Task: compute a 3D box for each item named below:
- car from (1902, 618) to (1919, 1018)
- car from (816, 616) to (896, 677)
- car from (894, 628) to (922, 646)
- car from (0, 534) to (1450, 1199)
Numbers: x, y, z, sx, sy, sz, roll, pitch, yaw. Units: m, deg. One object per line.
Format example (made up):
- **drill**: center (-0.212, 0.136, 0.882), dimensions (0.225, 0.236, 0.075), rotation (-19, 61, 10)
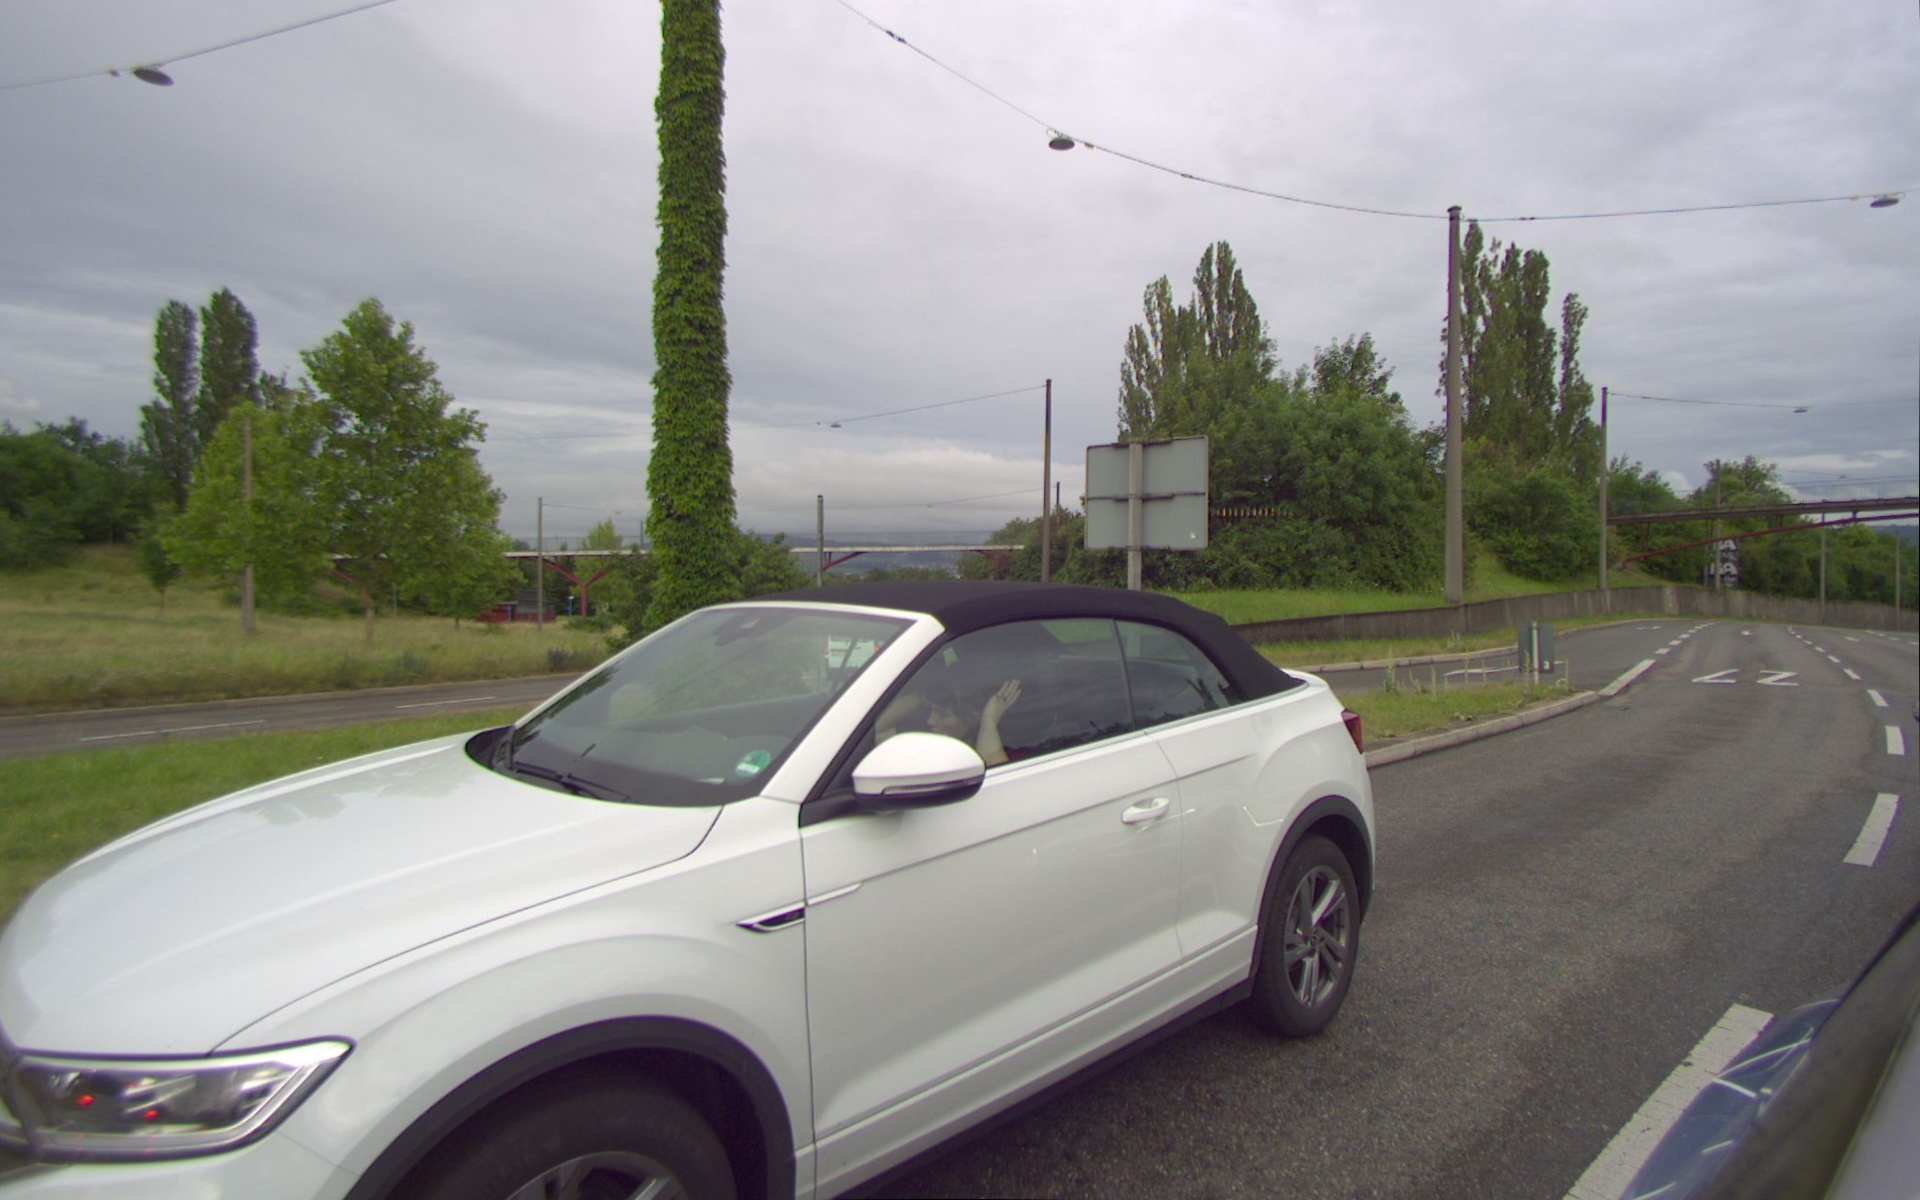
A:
- **car**: center (5.458, 0.752, 4.226), dimensions (4.064, 1.385, 1.893), rotation (-1, 1, -42)
- **car**: center (-3.411, 1.526, 34.050), dimensions (1.963, 1.872, 4.818), rotation (-1, -2, 2)
- **car**: center (-4.419, 3.109, 86.247), dimensions (1.656, 1.438, 4.073), rotation (-2, -2, 7)
- **car**: center (-0.228, 0.673, 3.126), dimensions (4.157, 1.572, 1.715), rotation (-1, 1, -42)
